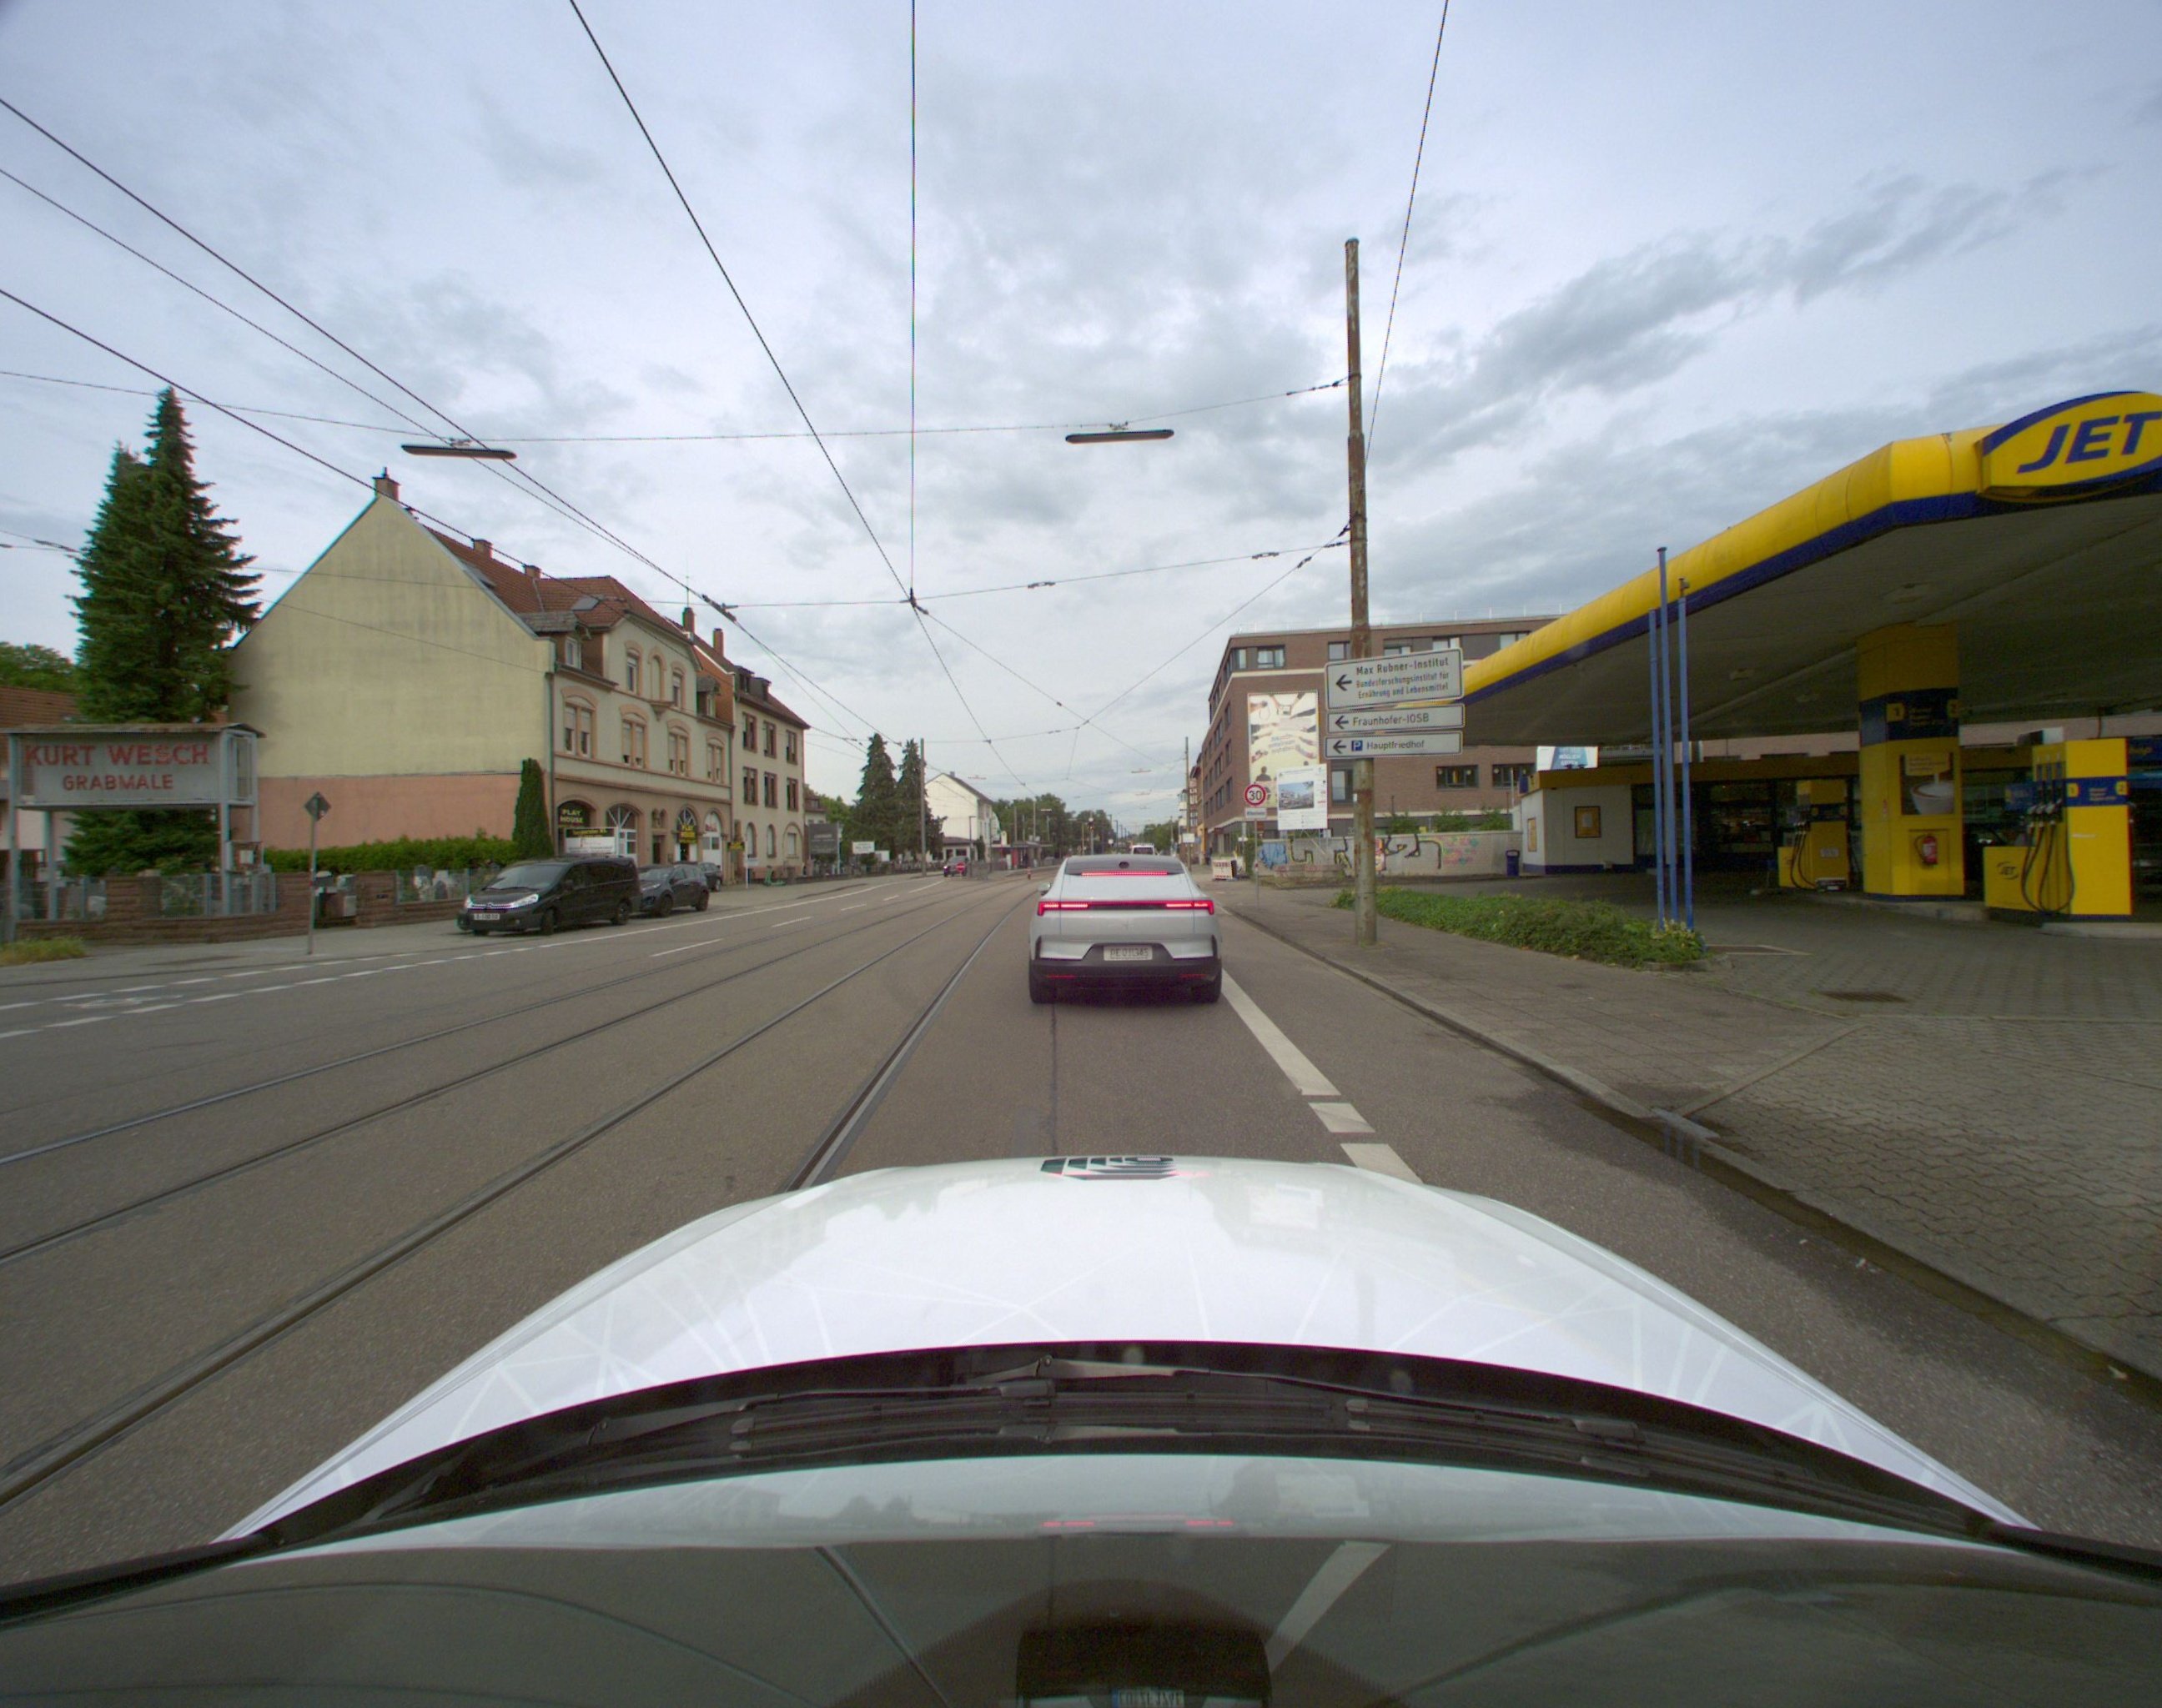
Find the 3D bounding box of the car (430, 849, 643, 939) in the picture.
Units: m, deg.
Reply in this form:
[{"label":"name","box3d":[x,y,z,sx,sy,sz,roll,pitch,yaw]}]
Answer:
[{"label":"car","box3d":[-13.660,0.928,20.941,1.981,2.014,5.183,0,-1,-1]}]

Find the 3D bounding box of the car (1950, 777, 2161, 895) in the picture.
[{"label":"car","box3d":[19.355,-0.315,15.638,1.803,1.988,4.275,-3,-1,19]}]

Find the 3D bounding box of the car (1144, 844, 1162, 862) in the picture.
[{"label":"car","box3d":[8.664,-0.099,97.980,1.986,2.014,4.002,0,-1,2]}]

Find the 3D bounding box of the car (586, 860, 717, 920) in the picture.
[{"label":"car","box3d":[-14.071,1.109,27.023,2.032,1.749,4.531,1,0,-2]}]

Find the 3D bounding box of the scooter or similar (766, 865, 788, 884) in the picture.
[{"label":"scooter or similar","box3d":[-17.927,1.208,47.995,1.181,1.102,0.523,0,-1,-29]}]

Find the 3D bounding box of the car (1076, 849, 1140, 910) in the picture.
[{"label":"car","box3d":[0.893,0.722,24.650,1.673,1.687,3.829,0,-1,5]}]

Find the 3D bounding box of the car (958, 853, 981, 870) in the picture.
[{"label":"car","box3d":[-11.110,0.749,81.132,1.786,1.530,4.137,-3,0,-3]}]

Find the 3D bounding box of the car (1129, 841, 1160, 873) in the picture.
[{"label":"car","box3d":[4.987,0.229,64.864,2.217,2.402,5.125,0,-1,2]}]

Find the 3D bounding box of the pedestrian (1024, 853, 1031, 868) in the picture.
[{"label":"pedestrian","box3d":[-5.781,0.683,88.348,0.612,1.664,0.699,0,-1,7]}]

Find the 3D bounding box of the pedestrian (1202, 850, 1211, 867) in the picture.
[{"label":"pedestrian","box3d":[14.694,0.508,95.494,0.954,1.850,0.978,-3,0,11]}]

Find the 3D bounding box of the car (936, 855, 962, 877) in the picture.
[{"label":"car","box3d":[-11.004,0.977,68.181,1.839,1.724,4.399,-1,0,-5]}]

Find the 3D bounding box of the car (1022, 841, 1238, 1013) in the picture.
[{"label":"car","box3d":[0.480,0.699,9.547,1.992,1.581,4.000,0,-1,1]}]

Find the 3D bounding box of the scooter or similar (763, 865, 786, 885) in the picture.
[{"label":"scooter or similar","box3d":[-17.758,1.200,47.175,1.181,1.102,0.523,0,-1,-29]}]

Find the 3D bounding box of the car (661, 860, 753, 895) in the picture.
[{"label":"car","box3d":[-17.260,1.030,37.913,1.987,1.493,4.902,-1,0,0]}]

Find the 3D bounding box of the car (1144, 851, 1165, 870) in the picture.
[{"label":"car","box3d":[7.774,0.689,86.381,1.986,2.014,4.002,0,-1,2]}]

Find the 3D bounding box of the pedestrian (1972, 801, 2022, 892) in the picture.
[{"label":"pedestrian","box3d":[18.519,-0.149,16.472,0.712,1.787,0.619,0,-1,-44]}]
